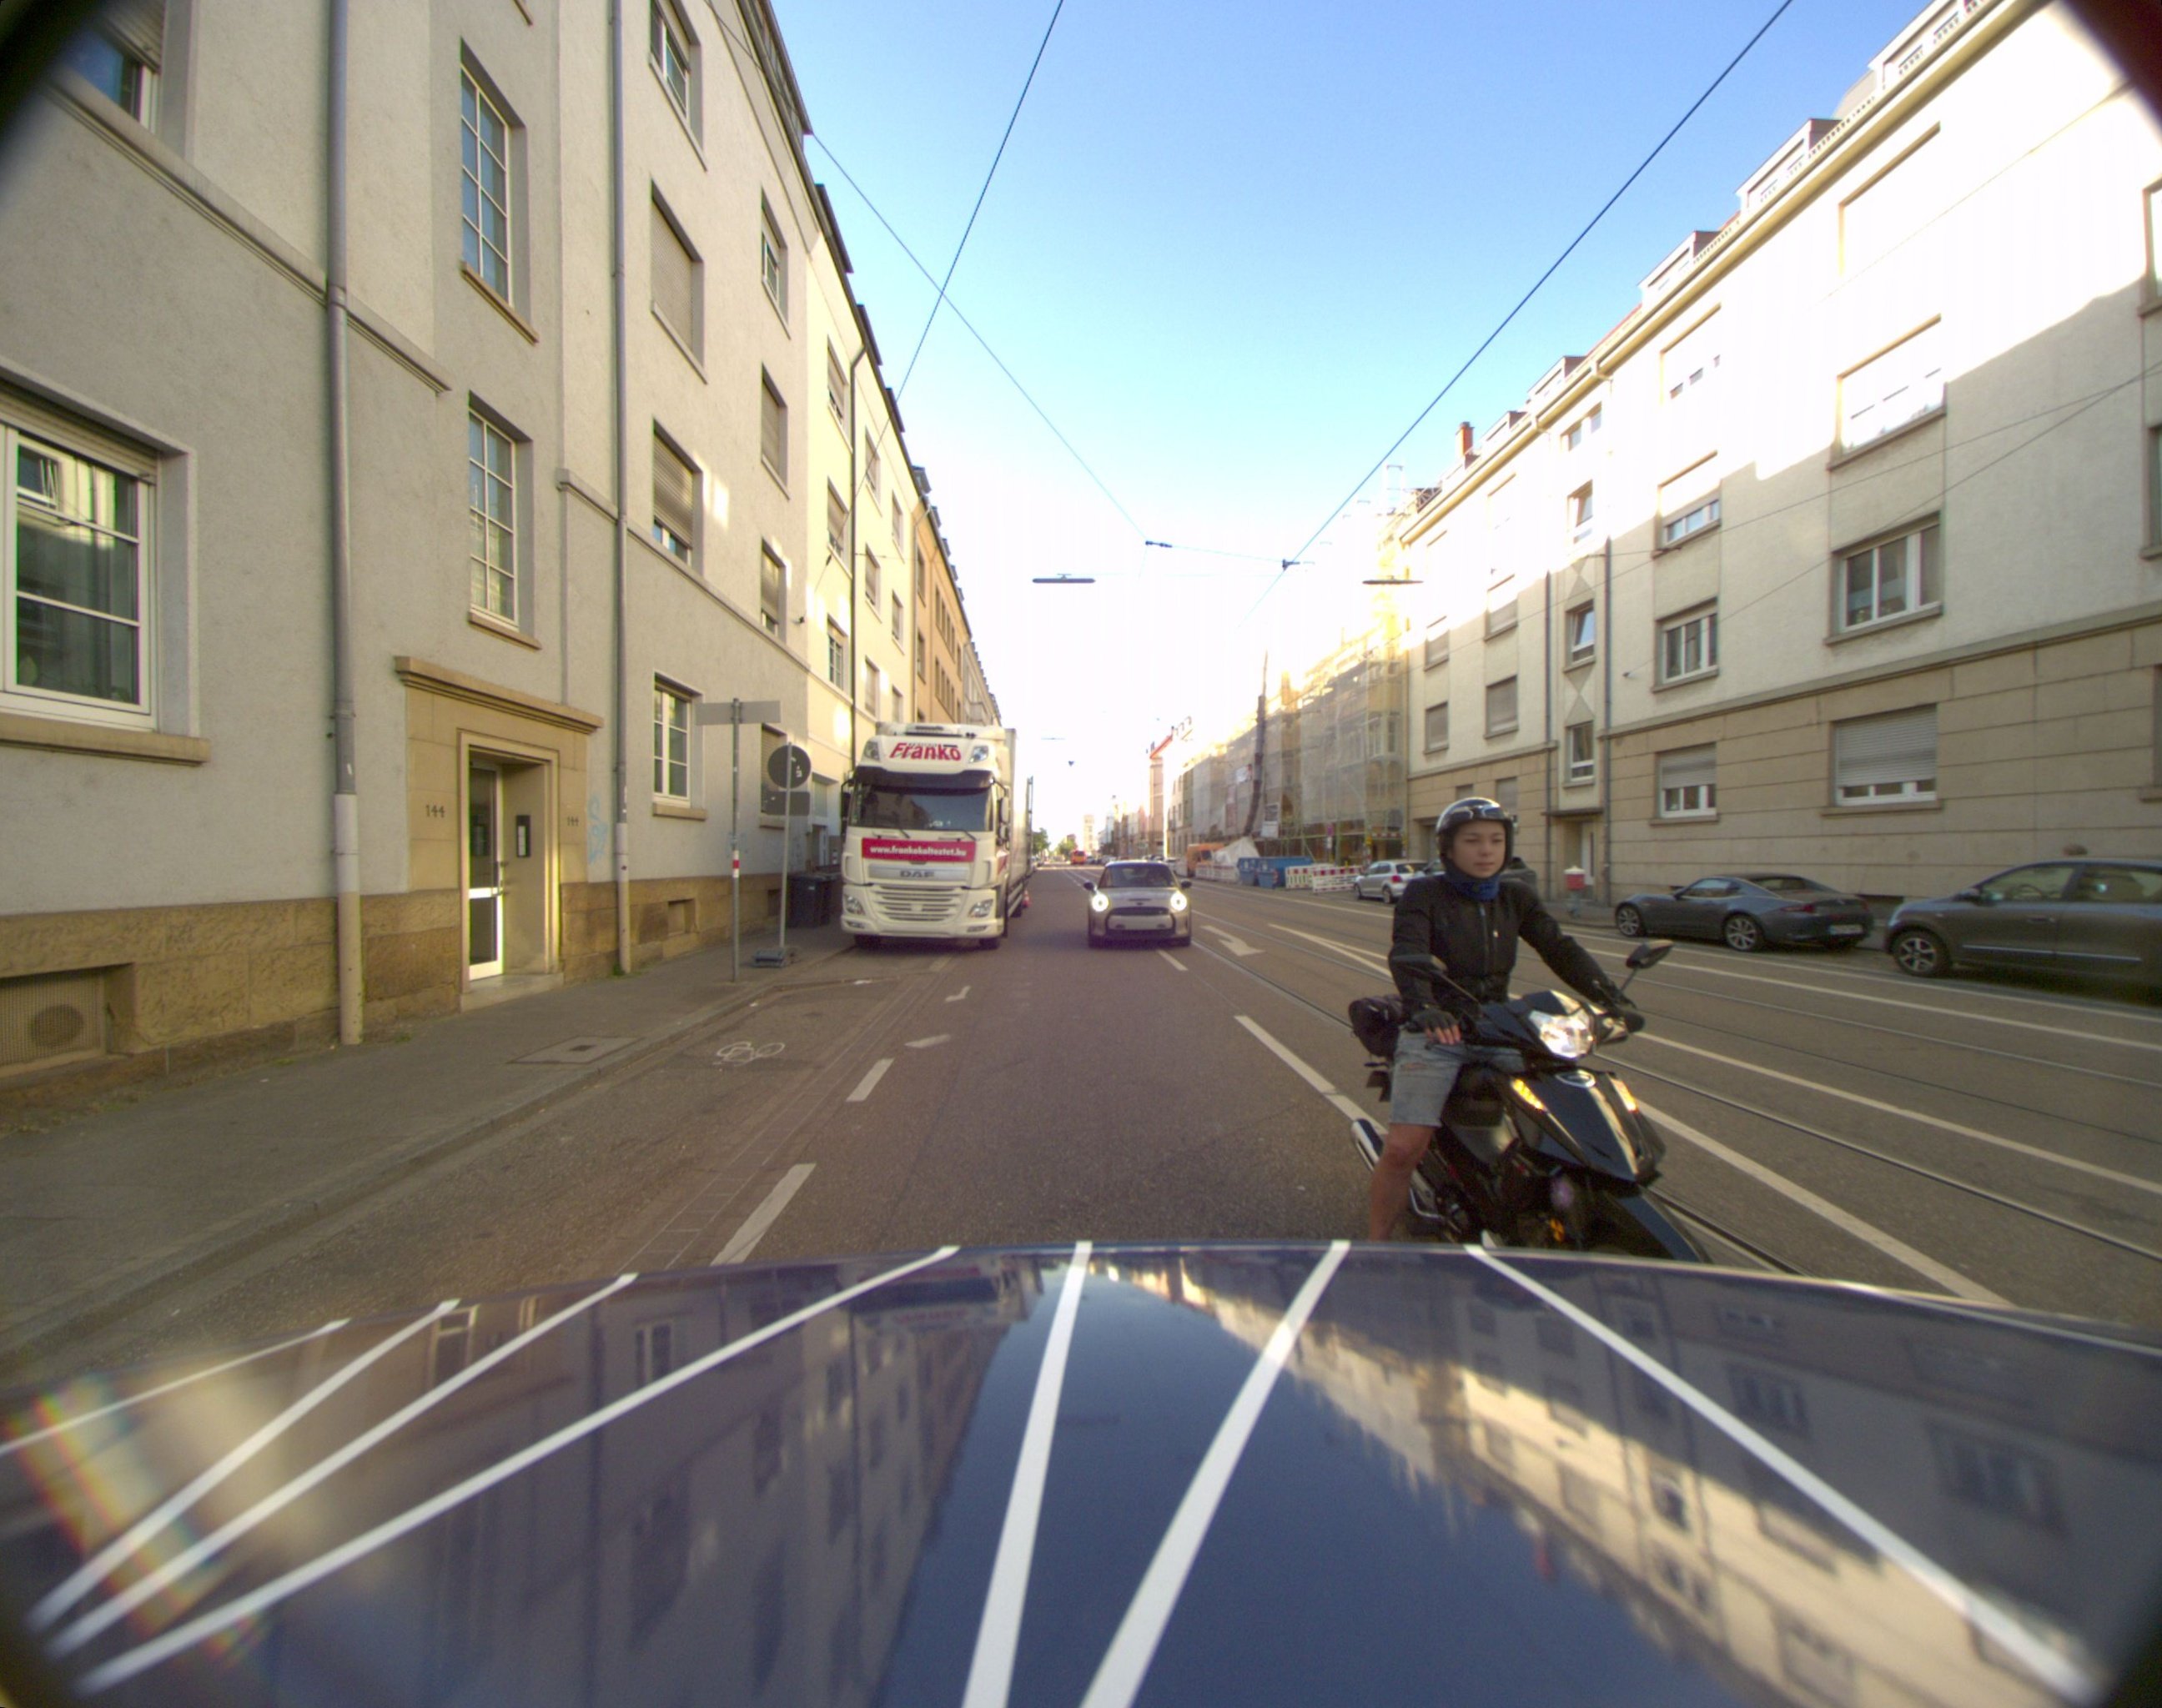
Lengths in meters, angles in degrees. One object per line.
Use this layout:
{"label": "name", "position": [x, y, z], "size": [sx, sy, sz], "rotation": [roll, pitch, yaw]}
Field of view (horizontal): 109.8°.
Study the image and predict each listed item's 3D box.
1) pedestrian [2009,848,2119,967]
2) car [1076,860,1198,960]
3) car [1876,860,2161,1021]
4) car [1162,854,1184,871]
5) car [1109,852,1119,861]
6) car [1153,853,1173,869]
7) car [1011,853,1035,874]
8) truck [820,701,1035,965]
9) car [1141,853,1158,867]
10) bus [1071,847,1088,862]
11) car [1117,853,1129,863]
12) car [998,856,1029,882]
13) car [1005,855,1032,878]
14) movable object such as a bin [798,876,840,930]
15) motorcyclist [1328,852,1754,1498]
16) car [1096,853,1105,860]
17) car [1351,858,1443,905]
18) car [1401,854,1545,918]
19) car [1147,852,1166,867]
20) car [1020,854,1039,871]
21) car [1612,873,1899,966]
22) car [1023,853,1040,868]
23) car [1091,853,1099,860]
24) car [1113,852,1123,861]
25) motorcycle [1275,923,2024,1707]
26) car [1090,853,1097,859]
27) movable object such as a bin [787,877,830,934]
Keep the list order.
{"label": "pedestrian", "position": [13.105, 0.692, 10.151], "size": [0.570, 1.532, 0.693], "rotation": [0, 1, -2]}
{"label": "car", "position": [0.863, 0.886, 13.822], "size": [1.685, 1.454, 4.148], "rotation": [-2, 0, -3]}
{"label": "car", "position": [11.417, 0.860, 8.307], "size": [1.679, 1.519, 3.539], "rotation": [-1, 0, -3]}
{"label": "car", "position": [8.572, 0.762, 71.100], "size": [1.684, 1.478, 3.966], "rotation": [-2, 0, 1]}
{"label": "car", "position": [5.958, 0.448, 139.332], "size": [1.684, 1.478, 3.966], "rotation": [-2, 0, 1]}
{"label": "car", "position": [8.267, 0.707, 76.798], "size": [1.684, 1.478, 3.966], "rotation": [-2, 0, 1]}
{"label": "car", "position": [-4.510, 0.750, 59.146], "size": [1.685, 1.522, 4.148], "rotation": [-2, 0, -3]}
{"label": "truck", "position": [-2.625, -0.319, 17.168], "size": [2.782, 3.903, 11.816], "rotation": [0, 0, -2]}
{"label": "car", "position": [7.934, 0.656, 87.867], "size": [1.684, 1.478, 3.966], "rotation": [-2, 0, 1]}
{"label": "bus", "position": [-0.405, 0.090, 167.650], "size": [2.755, 3.095, 19.156], "rotation": [0, 0, -3]}
{"label": "car", "position": [6.599, 0.627, 118.623], "size": [1.684, 1.478, 3.966], "rotation": [-2, 0, 1]}
{"label": "car", "position": [-4.175, 0.900, 47.175], "size": [1.685, 1.522, 4.148], "rotation": [-2, 0, -3]}
{"label": "car", "position": [-4.302, 0.832, 52.977], "size": [1.685, 1.522, 4.148], "rotation": [-2, 0, -3]}
{"label": "movable object such as a bin", "position": [-5.399, 1.001, 15.697], "size": [0.666, 1.087, 0.570], "rotation": [0, 1, -2]}
{"label": "motorcyclist", "position": [1.309, 0.818, 2.378], "size": [0.791, 1.645, 0.900], "rotation": [0, 1, 1]}
{"label": "car", "position": [4.258, 0.622, 167.800], "size": [1.684, 1.478, 3.965], "rotation": [-2, 0, -1]}
{"label": "car", "position": [10.610, 0.881, 25.767], "size": [1.543, 1.404, 3.510], "rotation": [-1, 0, -3]}
{"label": "car", "position": [10.812, 0.805, 21.319], "size": [1.696, 1.590, 4.206], "rotation": [-1, 0, -3]}
{"label": "car", "position": [8.245, 0.619, 83.171], "size": [1.684, 1.573, 3.966], "rotation": [-2, 0, 1]}
{"label": "car", "position": [-4.856, 0.752, 72.086], "size": [1.685, 1.522, 4.148], "rotation": [-2, 0, -3]}
{"label": "car", "position": [11.181, 1.000, 12.969], "size": [1.520, 1.227, 3.685], "rotation": [-1, 0, -3]}
{"label": "car", "position": [-5.350, 0.653, 82.732], "size": [1.685, 1.522, 4.148], "rotation": [-2, 0, -3]}
{"label": "car", "position": [3.536, 0.615, 191.734], "size": [1.684, 1.478, 3.965], "rotation": [-2, 0, -1]}
{"label": "car", "position": [6.531, 0.469, 134.389], "size": [1.684, 1.478, 3.966], "rotation": [-2, 0, 1]}
{"label": "motorcycle", "position": [1.310, 0.974, 2.507], "size": [0.791, 1.284, 2.273], "rotation": [0, 0, 1]}
{"label": "car", "position": [3.310, 0.595, 206.878], "size": [1.684, 1.478, 3.965], "rotation": [-2, 0, -1]}
{"label": "movable object such as a bin", "position": [-5.382, 1.009, 15.028], "size": [0.666, 1.087, 0.570], "rotation": [0, 1, -2]}
